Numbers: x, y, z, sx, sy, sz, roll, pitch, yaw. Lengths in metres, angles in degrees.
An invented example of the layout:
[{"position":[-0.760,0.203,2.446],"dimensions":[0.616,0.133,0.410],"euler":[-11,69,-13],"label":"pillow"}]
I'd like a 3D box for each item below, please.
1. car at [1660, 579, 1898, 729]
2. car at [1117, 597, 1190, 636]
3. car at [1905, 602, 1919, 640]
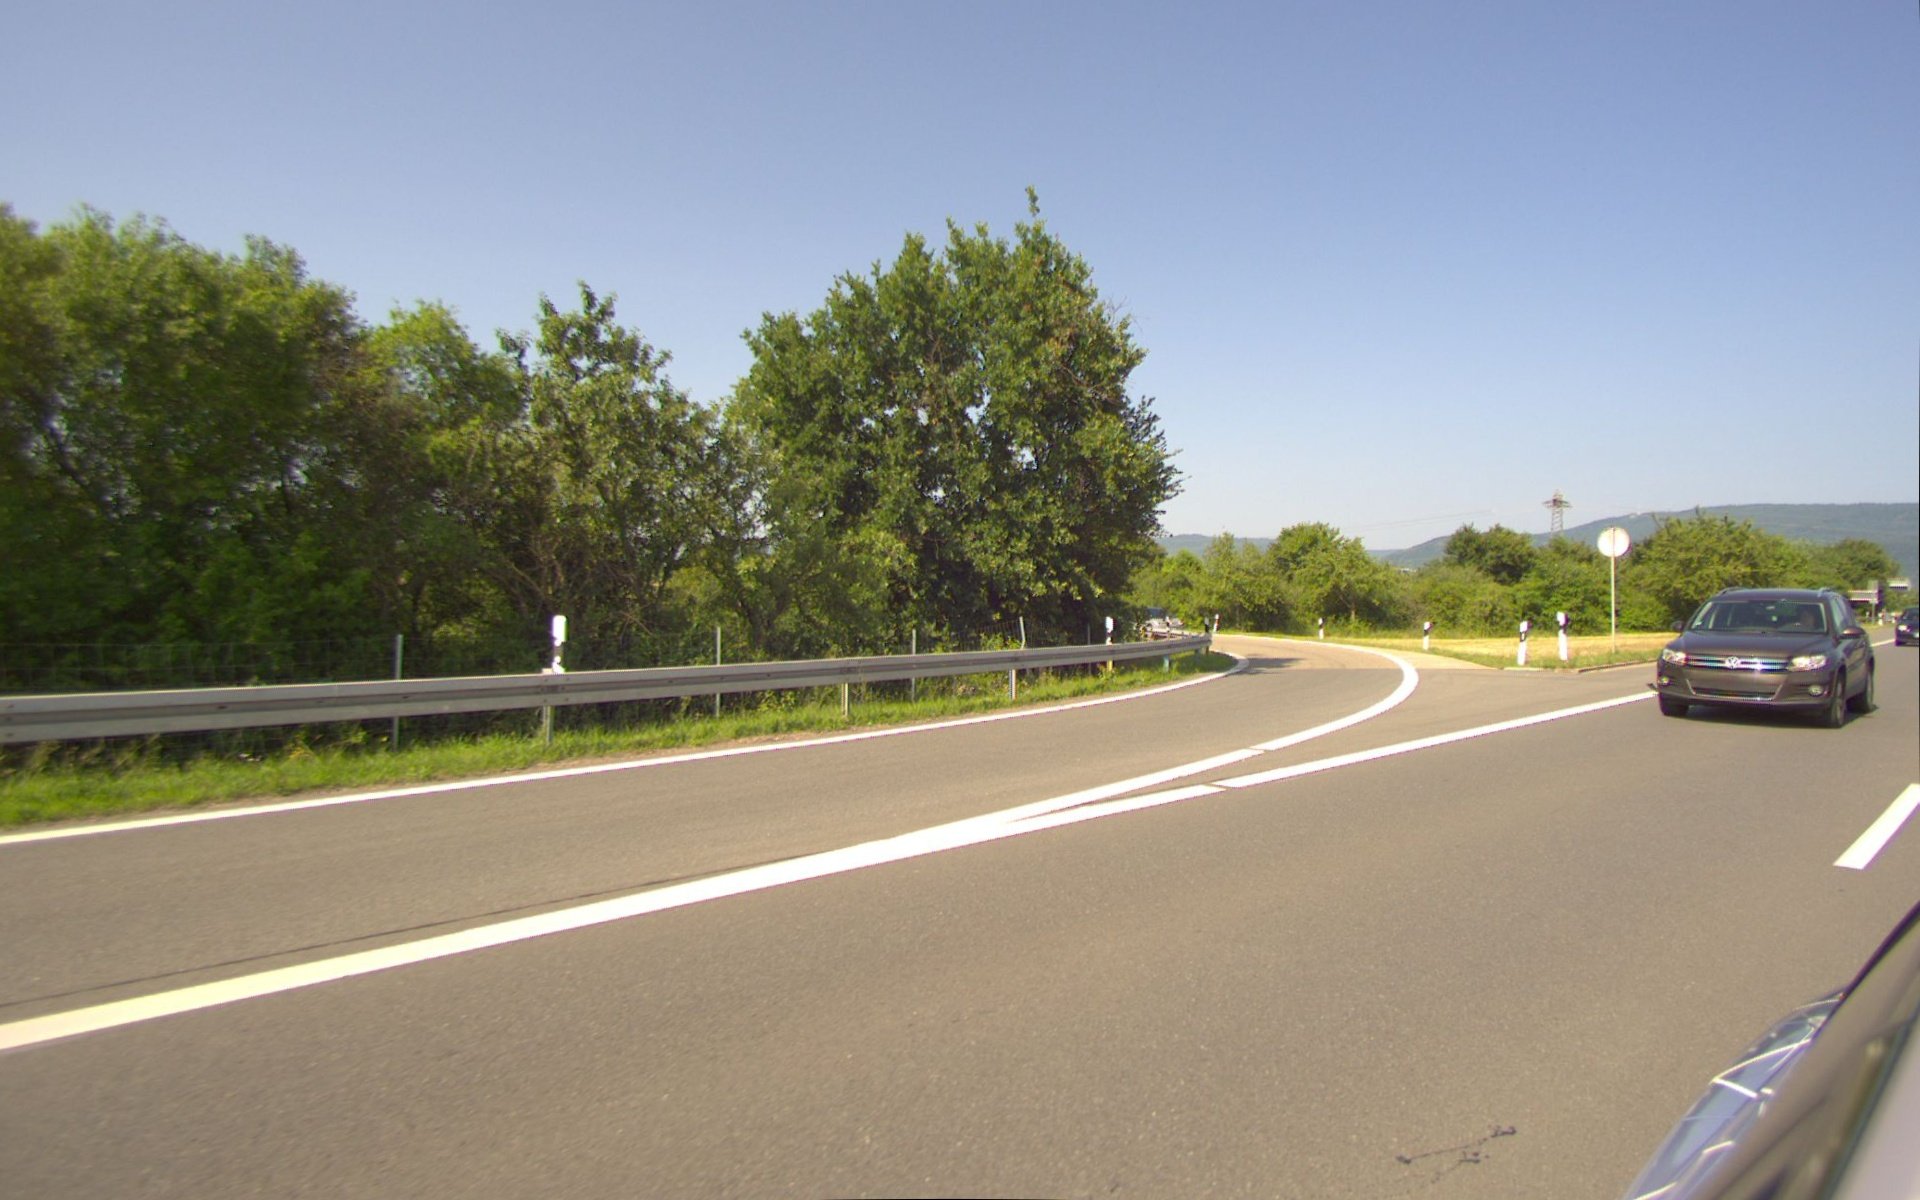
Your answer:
[{"position":[10.858,0.577,13.323],"dimensions":[4.076,1.667,1.788],"euler":[0,1,-41],"label":"car"},{"position":[9.978,0.799,52.472],"dimensions":[1.827,1.686,4.009],"euler":[-2,3,-22],"label":"car"},{"position":[34.963,0.727,36.196],"dimensions":[1.597,1.264,3.935],"euler":[0,0,45],"label":"car"}]
